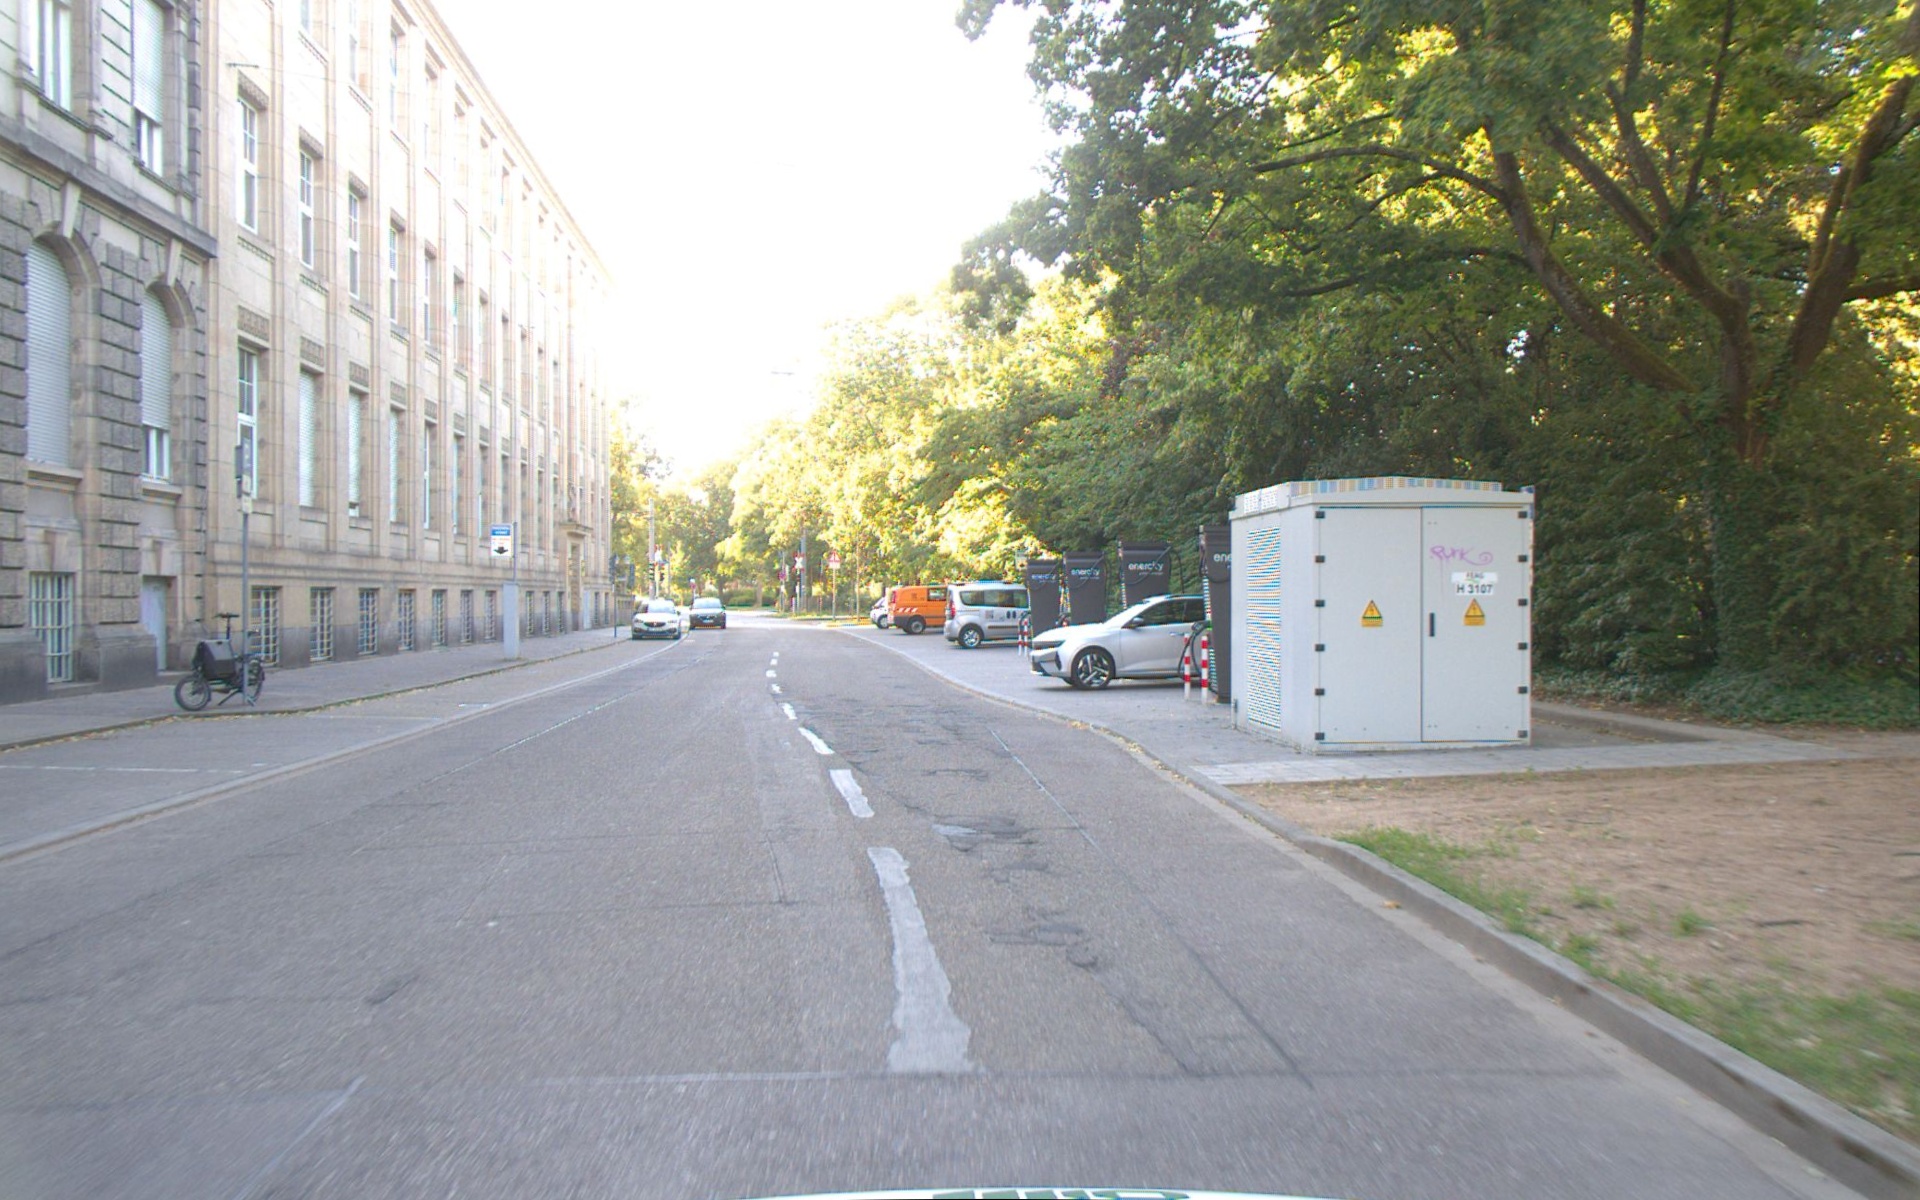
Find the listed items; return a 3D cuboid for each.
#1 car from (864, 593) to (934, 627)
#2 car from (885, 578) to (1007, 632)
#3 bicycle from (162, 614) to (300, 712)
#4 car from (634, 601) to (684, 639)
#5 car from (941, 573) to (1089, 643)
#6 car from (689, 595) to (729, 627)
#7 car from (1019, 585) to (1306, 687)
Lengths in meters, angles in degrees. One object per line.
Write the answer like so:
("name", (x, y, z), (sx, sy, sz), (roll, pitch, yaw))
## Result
("car", (-2.914, 0.469, 78.601), (3.089, 1.529, 1.536), (-2, 0, -12))
("car", (-0.583, 0.190, 68.268), (4.734, 2.049, 1.796), (-2, 0, -12))
("bicycle", (-9.039, 0.750, 20.594), (0.835, 1.121, 1.981), (2, 0, -1))
("car", (-11.564, 0.754, 63.693), (1.695, 1.421, 4.365), (0, 0, -8))
("car", (1.600, 0.234, 49.065), (4.146, 1.892, 1.998), (-2, 0, -5))
("car", (-12.282, 0.504, 81.088), (1.843, 1.492, 4.365), (0, 0, -8))
("car", (3.253, 0.562, 27.008), (4.356, 1.495, 1.780), (-1, 0, -6))
